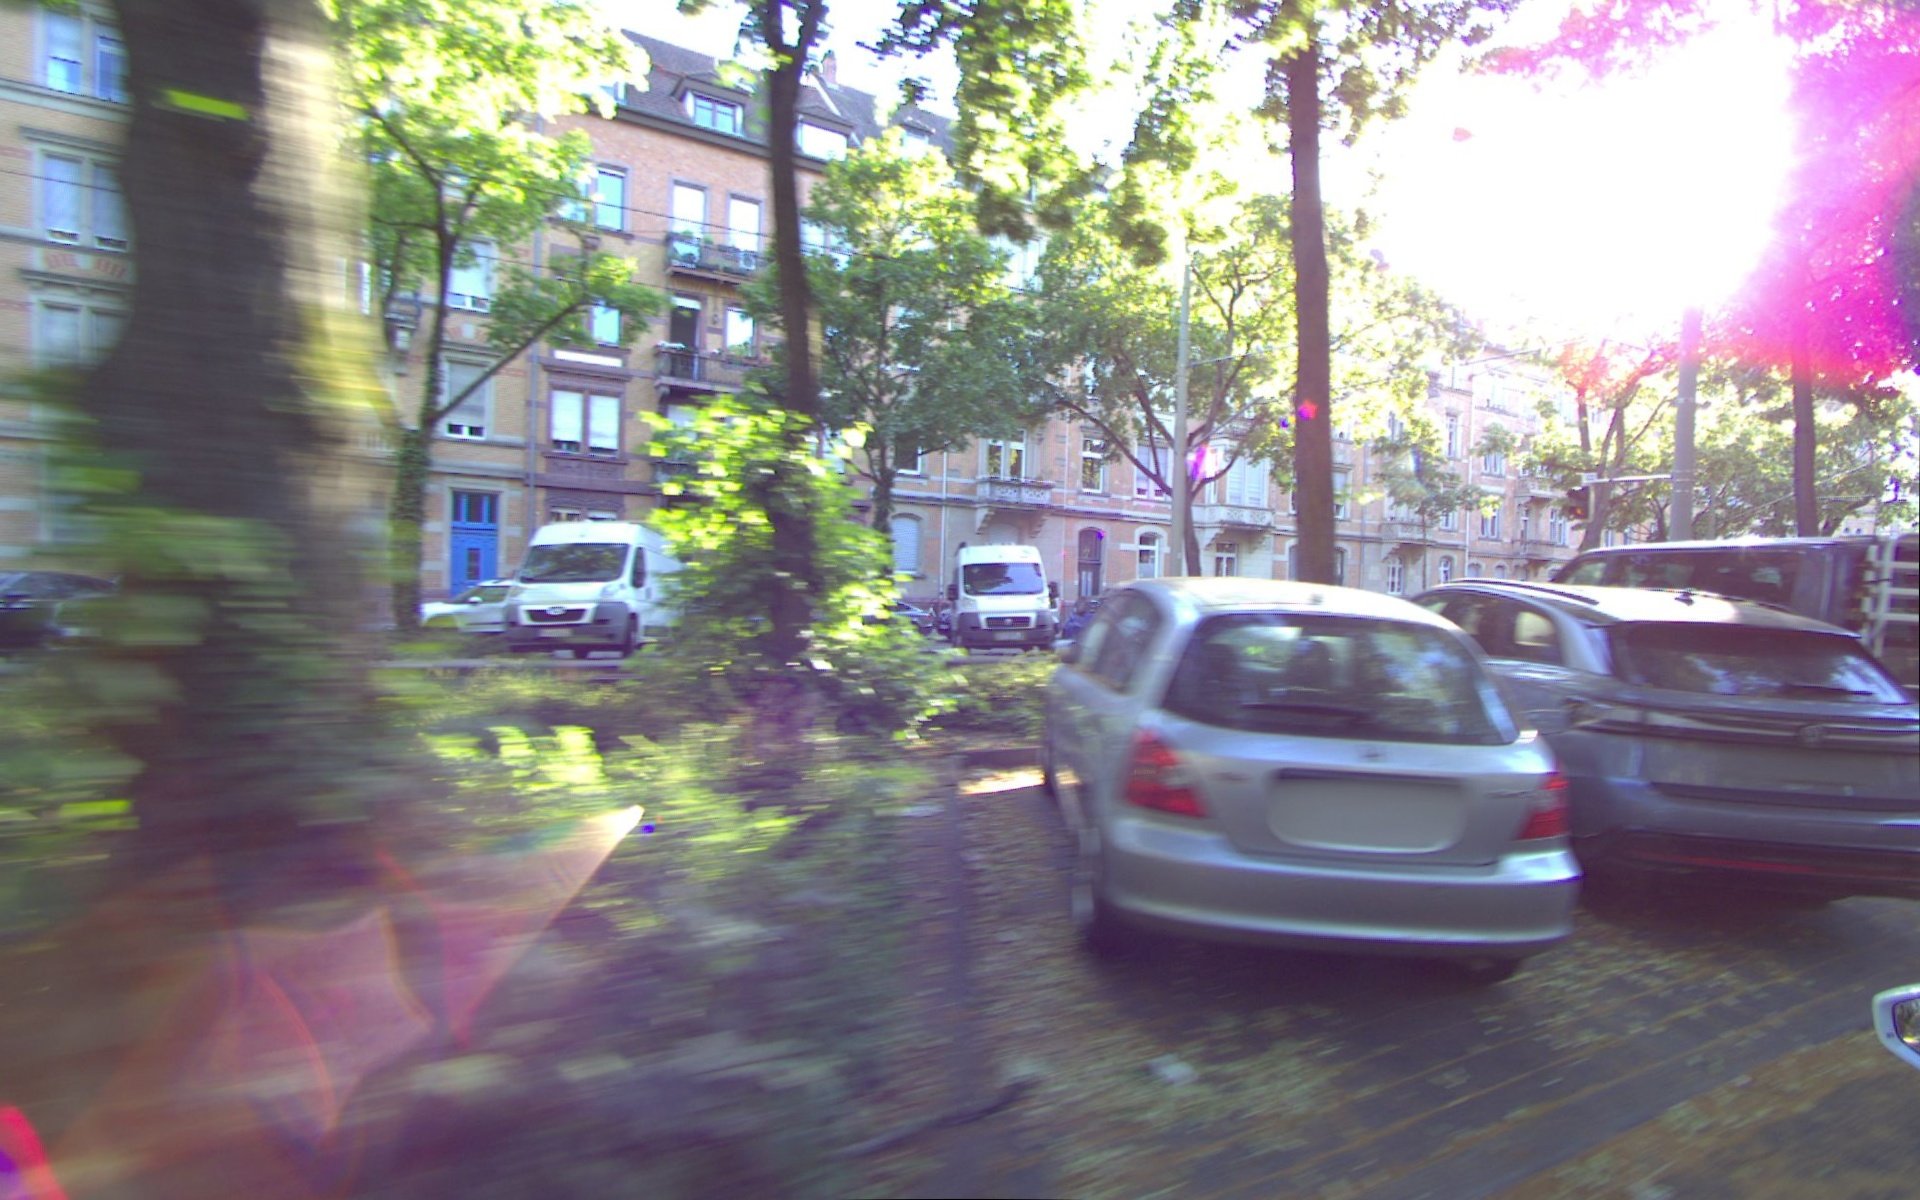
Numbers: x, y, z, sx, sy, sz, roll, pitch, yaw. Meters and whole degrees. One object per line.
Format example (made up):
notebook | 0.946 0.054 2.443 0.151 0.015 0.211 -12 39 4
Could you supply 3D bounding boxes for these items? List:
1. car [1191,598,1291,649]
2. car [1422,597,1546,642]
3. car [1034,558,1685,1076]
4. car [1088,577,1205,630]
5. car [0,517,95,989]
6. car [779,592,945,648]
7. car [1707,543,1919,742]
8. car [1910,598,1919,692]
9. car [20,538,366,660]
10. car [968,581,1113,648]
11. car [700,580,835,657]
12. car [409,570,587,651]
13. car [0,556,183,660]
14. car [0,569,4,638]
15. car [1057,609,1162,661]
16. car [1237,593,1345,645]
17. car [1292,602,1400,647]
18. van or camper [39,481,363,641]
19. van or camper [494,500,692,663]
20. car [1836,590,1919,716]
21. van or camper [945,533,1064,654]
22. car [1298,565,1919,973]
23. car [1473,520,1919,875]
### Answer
car | 11.026 0.882 39.426 3.468 1.807 1.841 0 4 -32
car | 17.365 0.607 33.493 1.565 1.335 3.993 2 0 -9
car | 1.386 0.602 5.195 1.748 1.508 4.093 3 3 2
car | 6.783 0.165 36.394 3.979 1.806 1.841 1 -2 -32
car | -3.973 0.503 1.555 1.789 1.458 3.825 3 3 4
car | -2.916 0.575 30.255 4.608 1.493 1.840 0 4 -32
car | 11.478 0.501 11.222 2.040 2.166 5.513 3 3 0
car | 16.598 0.850 14.268 1.817 1.638 4.518 3 3 1
car | -11.515 0.002 15.562 1.868 1.603 4.326 1 0 3
car | 2.725 0.468 33.604 4.608 2.032 1.840 0 4 -32
car | -3.805 0.353 20.624 1.696 1.380 4.326 1 0 3
car | -11.560 0.232 25.188 3.872 1.807 1.841 0 4 -32
car | -13.873 0.131 14.443 1.868 1.403 4.327 1 -3 3
car | -21.050 0.115 19.349 3.468 1.423 1.841 0 4 -32
car | 3.532 0.806 24.437 1.791 1.112 4.167 1 0 -2
car | 9.224 0.484 28.342 1.604 1.327 4.188 2 0 -1
car | 11.285 0.668 29.676 1.470 1.183 4.203 2 0 -1
van or camper | -16.353 -0.727 22.136 5.452 3.151 2.063 1 1 -32
van or camper | -6.460 -0.263 18.453 1.962 2.501 5.673 1 0 -5
car | 13.917 0.849 12.411 1.898 1.638 4.515 3 3 -5
van or camper | 0.866 -0.105 23.055 2.262 2.402 5.550 1 0 -2
car | 3.793 0.639 6.429 1.896 1.561 4.572 3 3 4
car | 6.140 0.487 7.913 1.896 1.969 4.714 3 3 4
